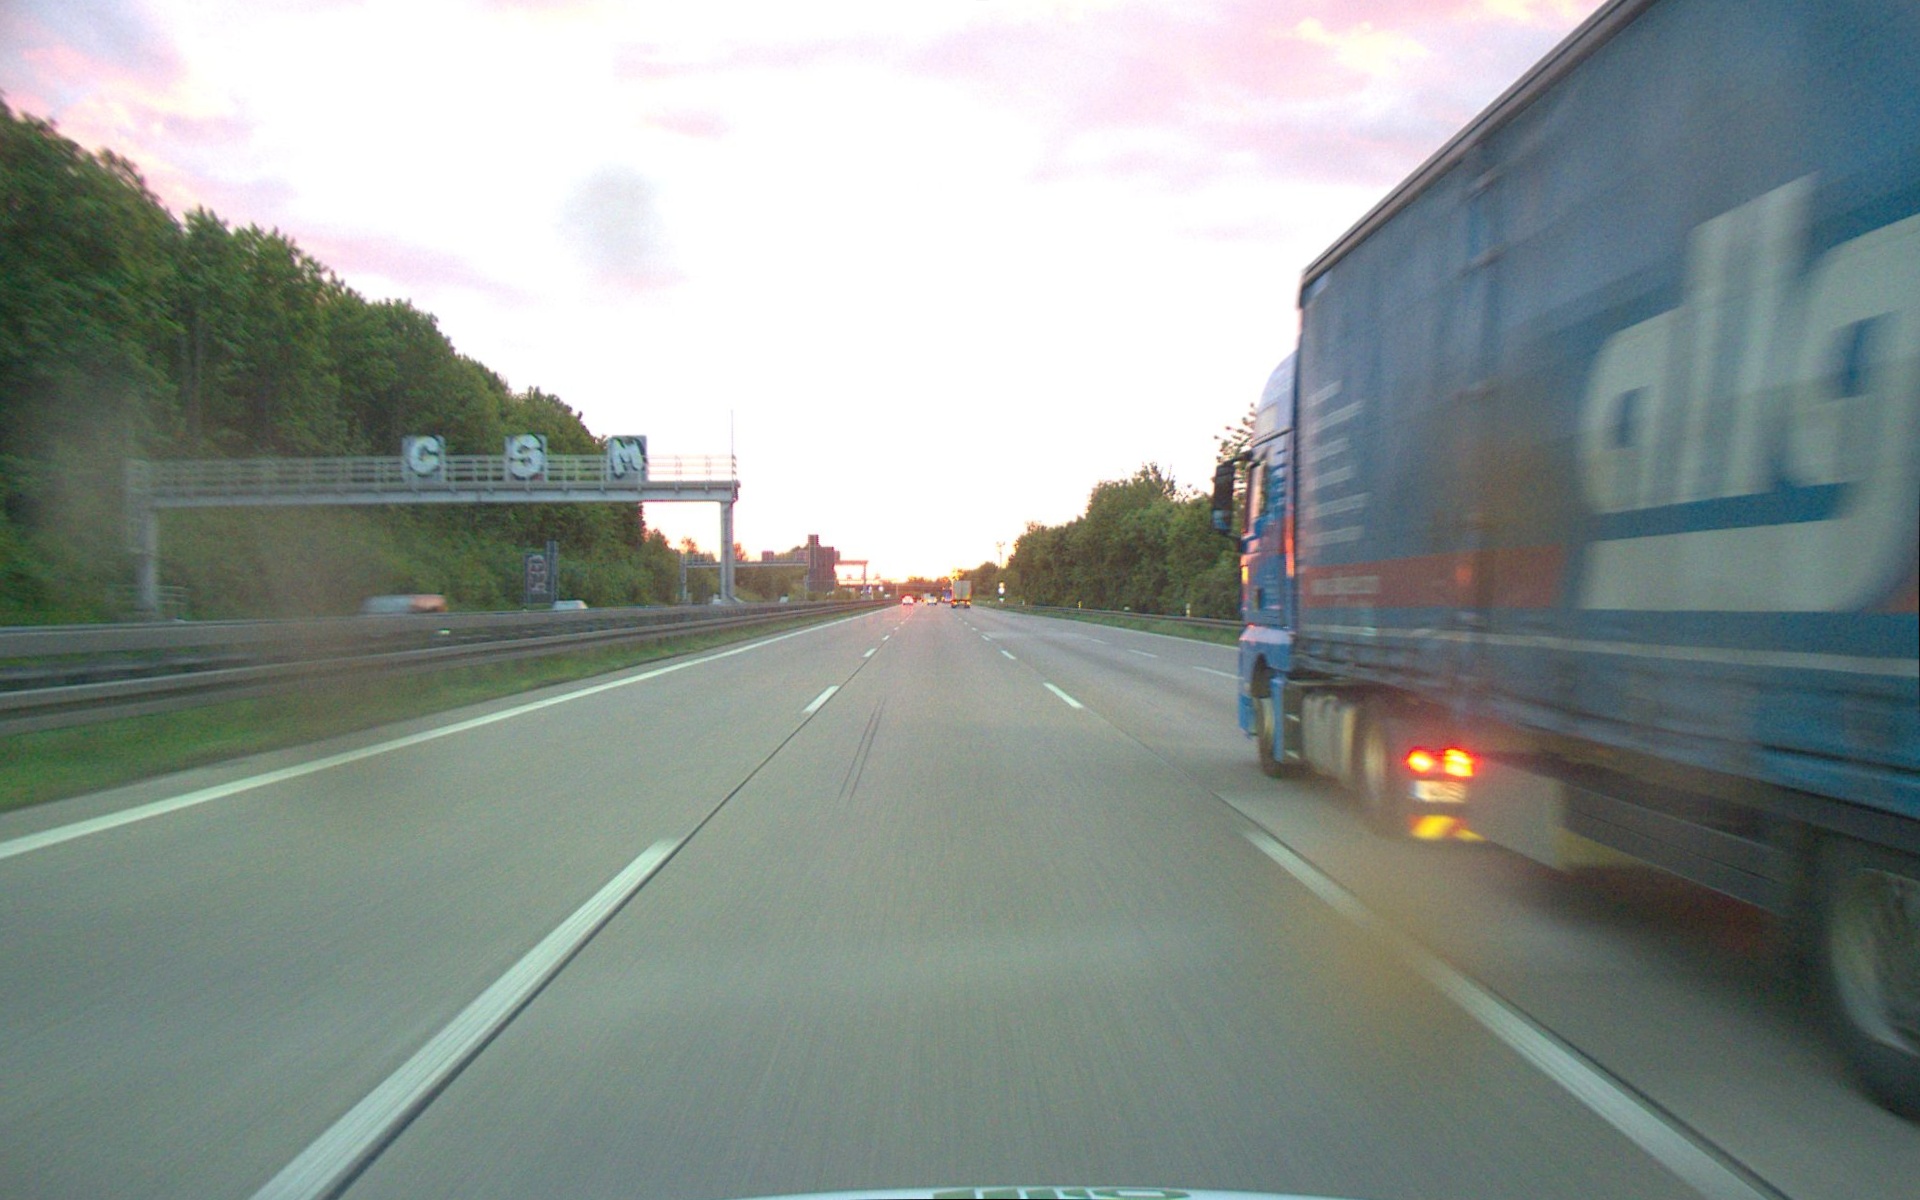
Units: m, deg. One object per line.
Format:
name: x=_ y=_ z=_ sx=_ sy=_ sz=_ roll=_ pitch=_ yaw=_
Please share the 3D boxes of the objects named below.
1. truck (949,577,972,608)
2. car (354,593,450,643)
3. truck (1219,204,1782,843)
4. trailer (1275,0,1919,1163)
truck: x=0.066 y=-1.074 z=233.916 sx=3.178 sy=4.199 sz=9.785 roll=-1 pitch=0 yaw=0
car: x=-20.899 y=0.644 z=62.189 sx=1.811 sy=1.764 sz=5.659 roll=0 pitch=0 yaw=-1
truck: x=3.918 y=-0.496 z=13.503 sx=2.680 sy=4.066 sz=5.849 roll=0 pitch=0 yaw=0
trailer: x=3.983 y=-0.527 z=6.432 sx=2.715 sy=4.158 sz=13.737 roll=0 pitch=0 yaw=-1
